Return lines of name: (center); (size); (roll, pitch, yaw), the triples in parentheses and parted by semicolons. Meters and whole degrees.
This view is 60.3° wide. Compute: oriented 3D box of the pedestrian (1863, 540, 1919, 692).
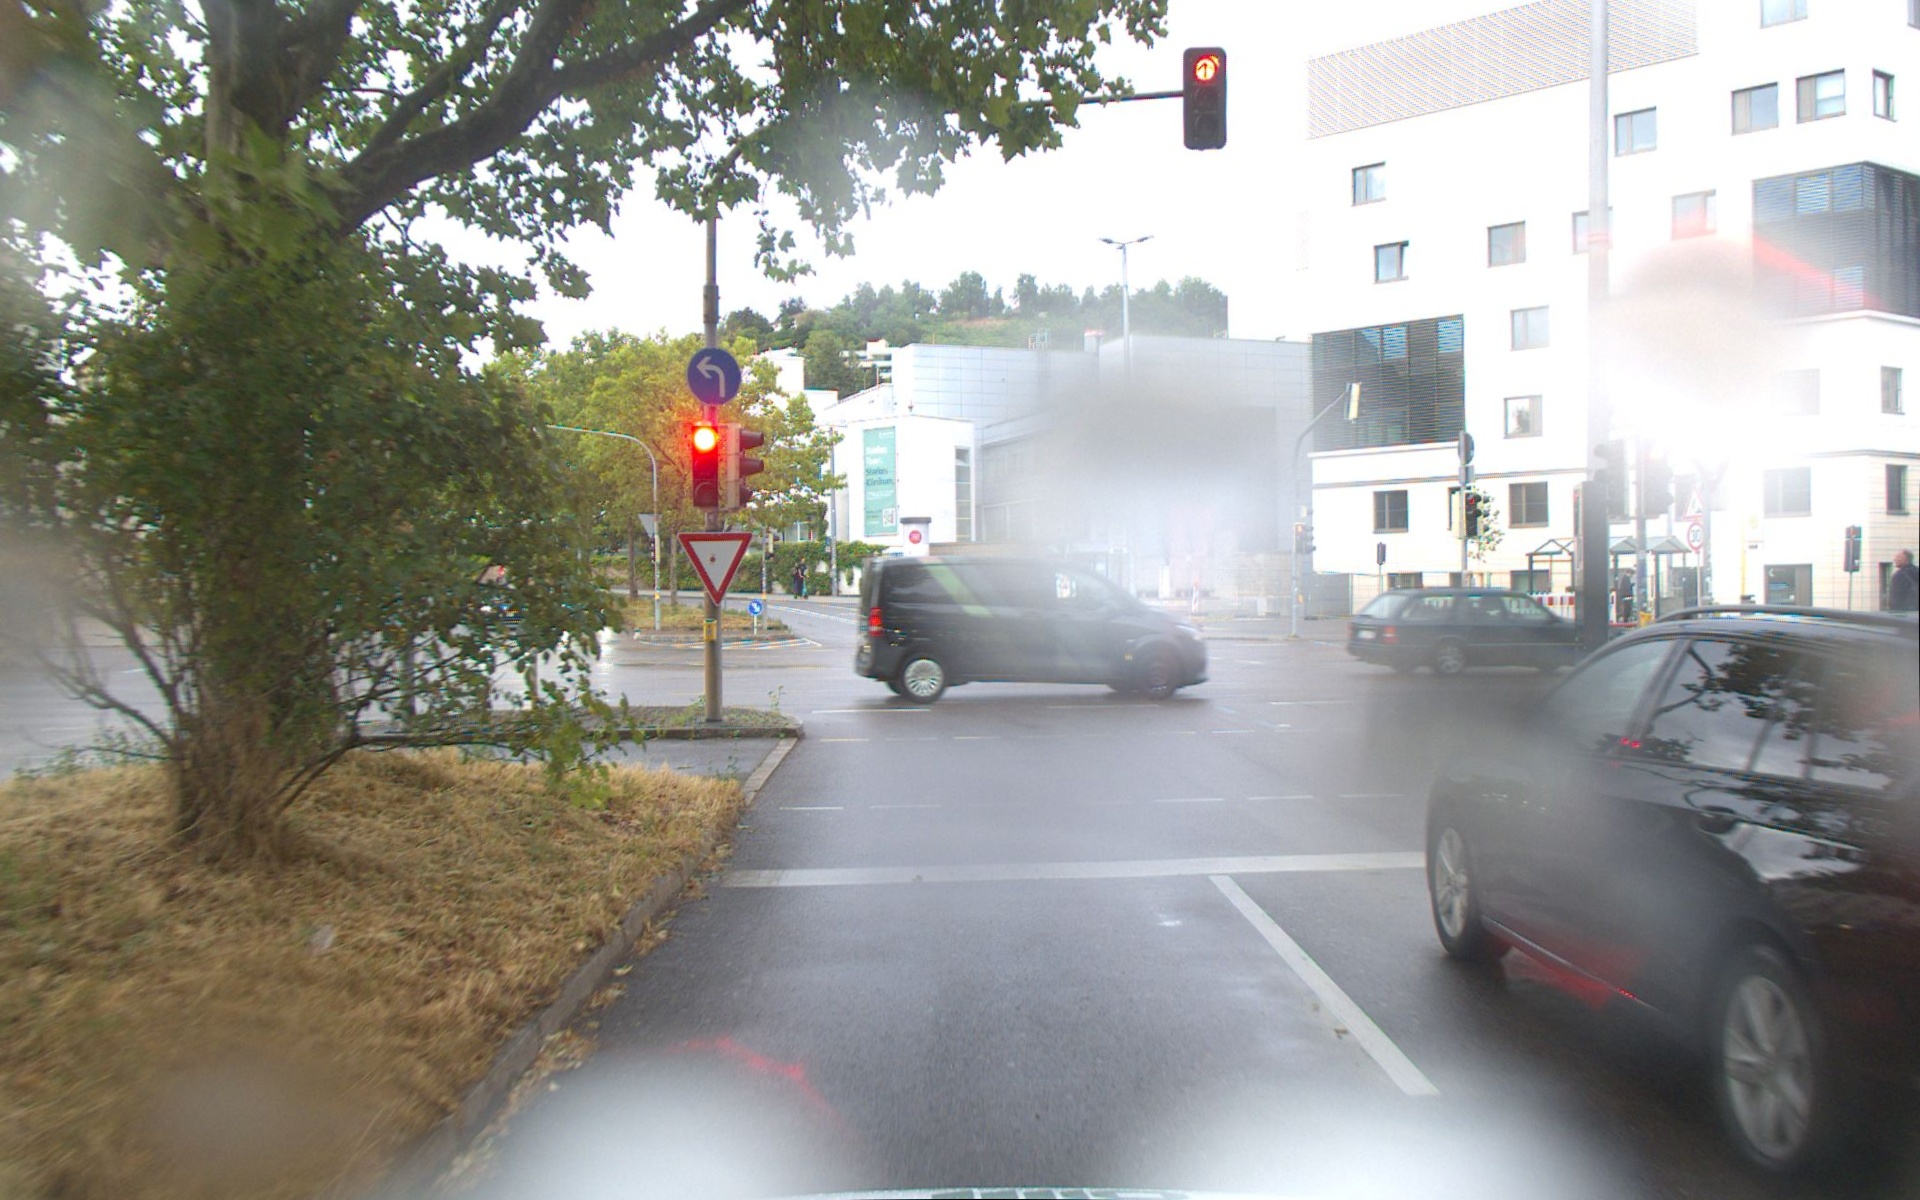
pedestrian: (12.466, 0.212, 21.523); (0.812, 1.925, 1.025); (1, -1, -9)

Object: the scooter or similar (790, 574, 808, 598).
scooter or similar: (-8.362, -0.723, 85.992); (0.582, 1.260, 1.305); (1, -1, -21)

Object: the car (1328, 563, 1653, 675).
car: (8.893, 0.295, 27.898); (4.866, 1.702, 1.994); (-1, 0, -12)

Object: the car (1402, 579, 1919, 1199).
car: (2.873, 0.700, 5.317); (1.636, 1.491, 4.512); (0, 1, -1)

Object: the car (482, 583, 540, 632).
car: (-16.069, 0.240, 59.070); (1.838, 1.591, 4.256); (-1, 2, -17)

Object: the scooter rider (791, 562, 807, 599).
scooter rider: (-8.370, -1.026, 86.019); (0.713, 1.916, 0.628); (1, -1, -20)

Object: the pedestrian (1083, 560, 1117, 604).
pedestrian: (5.679, -0.712, 67.124); (1.232, 1.749, 1.016); (1, -1, -2)

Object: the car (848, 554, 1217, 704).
car: (0.926, 0.346, 22.465); (4.684, 1.840, 1.995); (-1, 1, -10)

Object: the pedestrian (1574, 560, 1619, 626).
pedestrian: (18.395, -0.195, 47.808); (0.934, 1.872, 0.821); (1, -1, -11)

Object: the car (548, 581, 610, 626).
car: (-14.545, 0.108, 63.022); (1.764, 1.612, 3.974); (-1, 1, -21)

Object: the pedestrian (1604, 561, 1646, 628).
pedestrian: (19.998, -0.160, 49.757); (0.980, 1.969, 0.955); (1, -1, 9)
